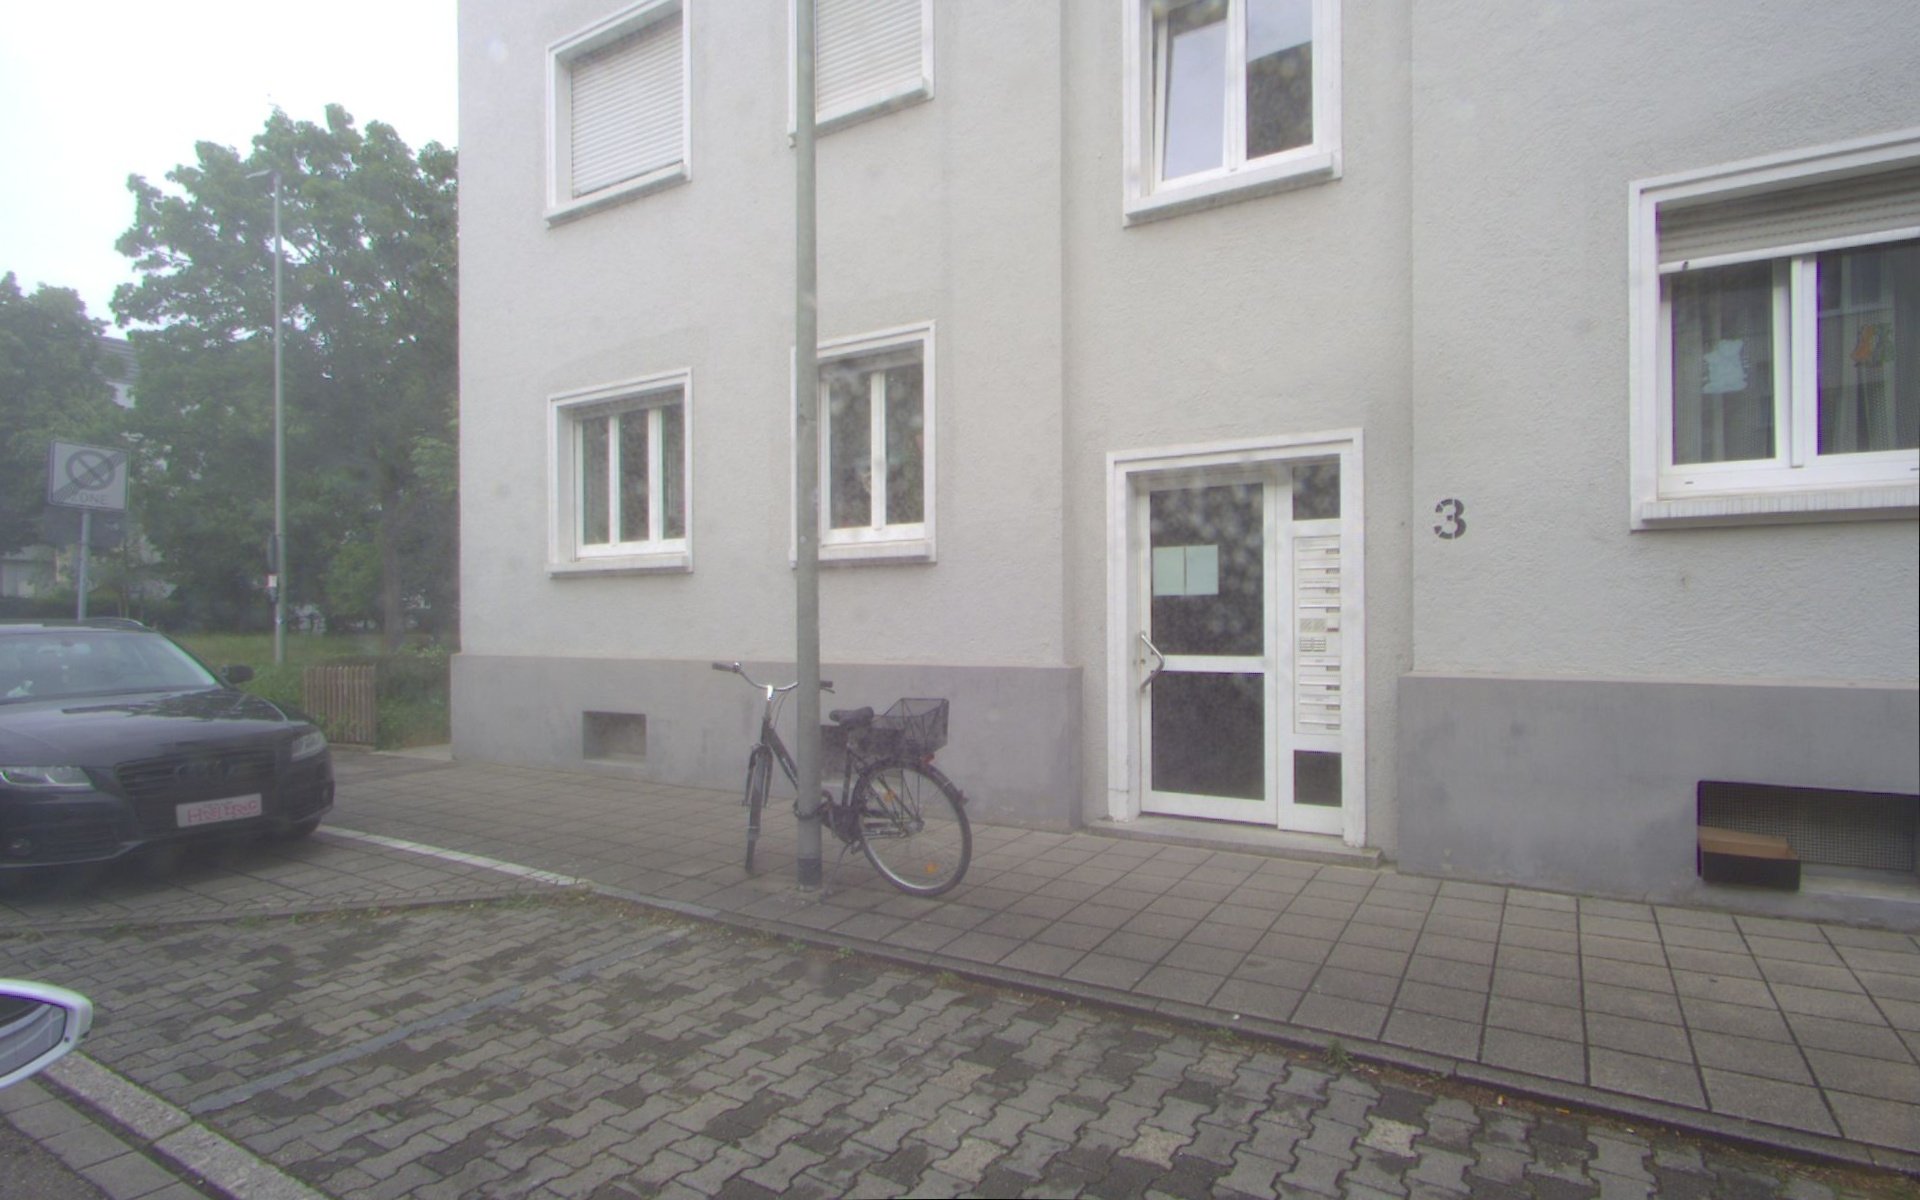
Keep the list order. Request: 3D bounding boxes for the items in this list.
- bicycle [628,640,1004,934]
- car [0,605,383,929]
[{"bbox_3d":[-0.772,0.845,5.159,1.868,1.216,0.747,0,1,32],"label":"bicycle"},{"bbox_3d":[-5.997,0.788,6.496,4.655,1.482,1.857,-1,0,30],"label":"car"}]
